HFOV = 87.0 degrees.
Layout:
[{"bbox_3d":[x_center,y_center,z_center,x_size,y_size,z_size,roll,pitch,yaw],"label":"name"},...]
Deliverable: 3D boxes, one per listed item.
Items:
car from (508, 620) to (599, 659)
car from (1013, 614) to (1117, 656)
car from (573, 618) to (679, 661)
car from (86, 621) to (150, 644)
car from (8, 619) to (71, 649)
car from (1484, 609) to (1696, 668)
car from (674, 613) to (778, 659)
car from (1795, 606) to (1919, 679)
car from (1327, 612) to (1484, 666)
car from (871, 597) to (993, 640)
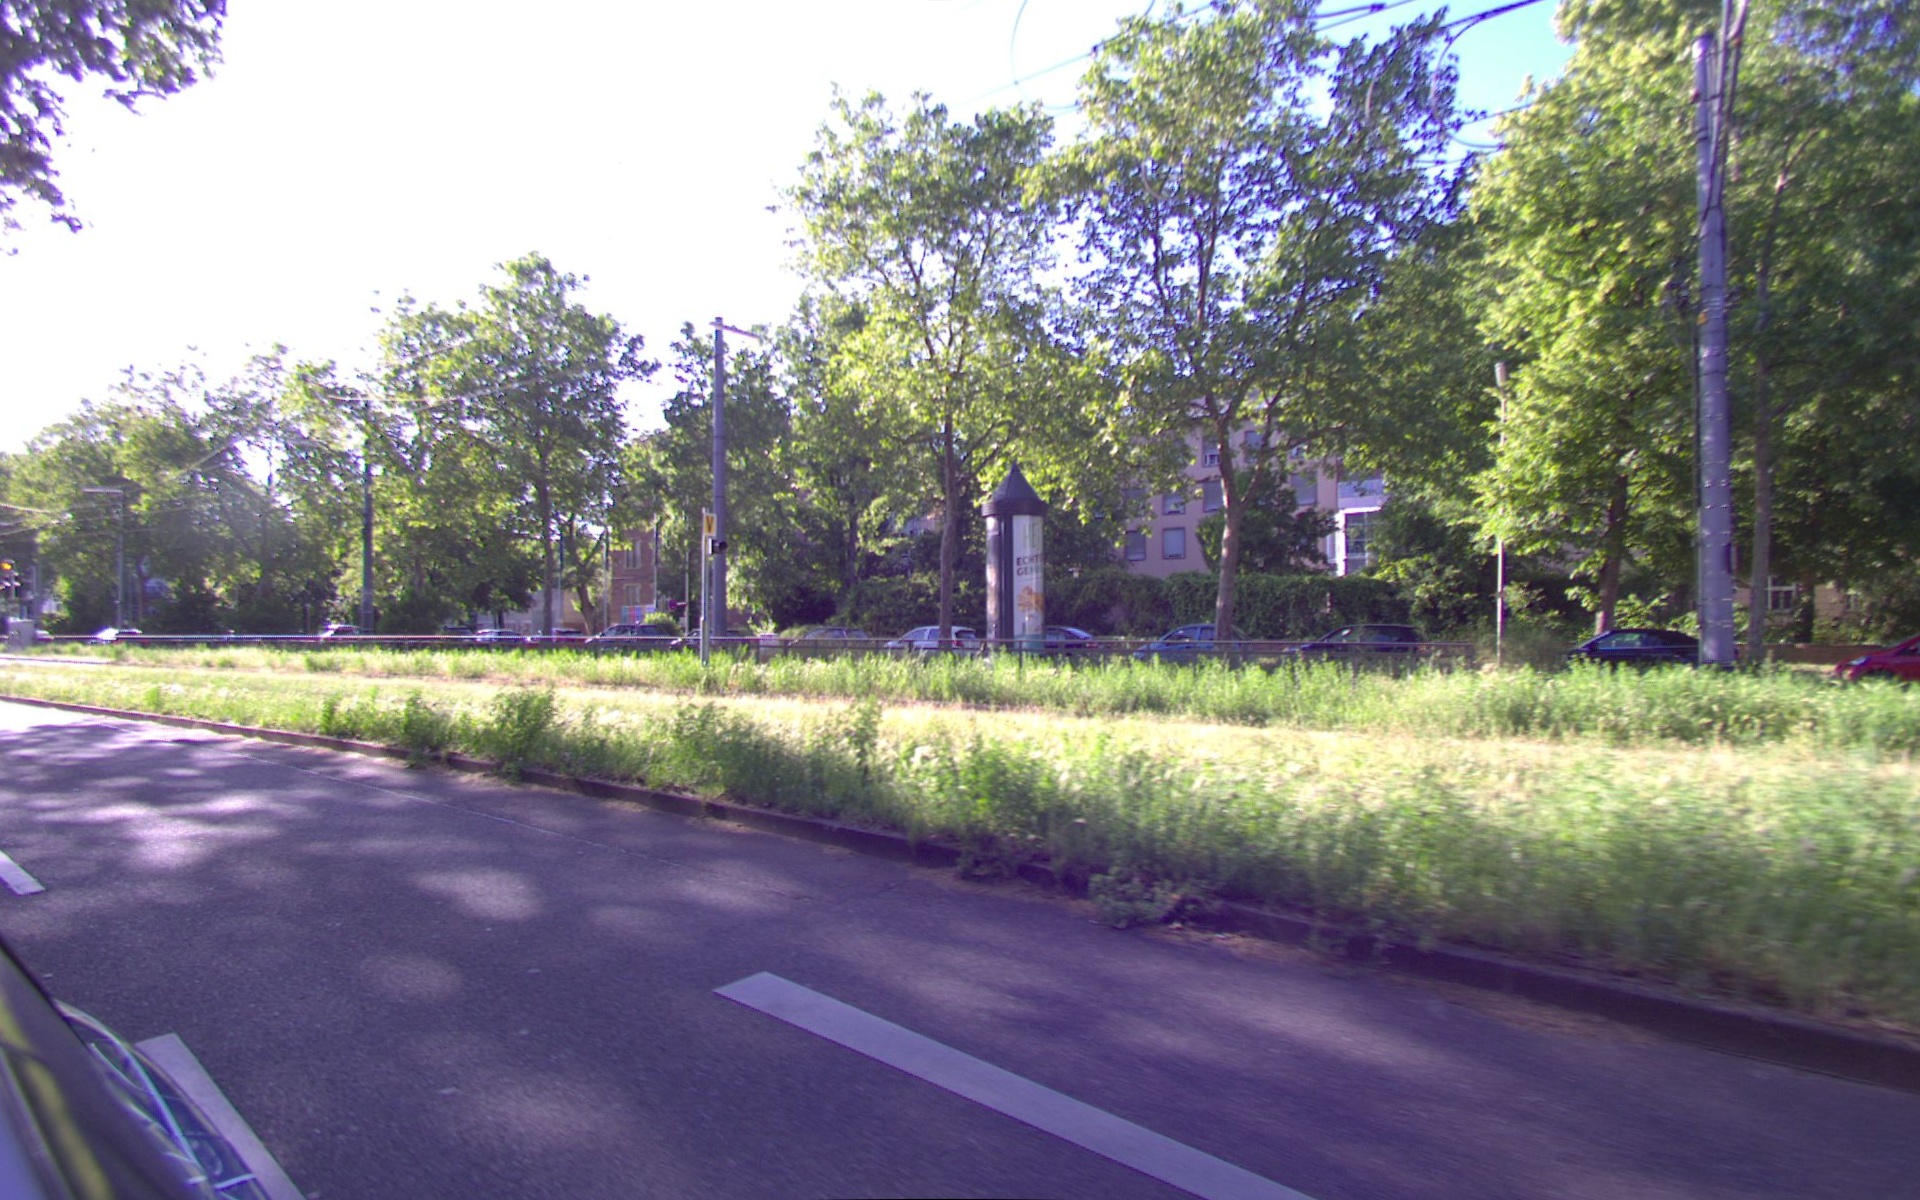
[{"bbox_3d":[-19.078,1.842,47.448,3.988,1.634,1.978,-2,1,33],"label":"car"},{"bbox_3d":[3.169,1.050,30.786,2.837,1.209,1.389,-1,-1,34],"label":"car"},{"bbox_3d":[-14.621,1.707,44.228,4.500,1.696,1.978,-2,1,33],"label":"car"},{"bbox_3d":[-47.003,1.806,56.441,4.697,1.143,1.674,-2,1,37],"label":"car"},{"bbox_3d":[-51.694,1.919,56.834,4.038,1.563,1.778,-2,1,36],"label":"car"},{"bbox_3d":[14.362,0.836,23.192,3.991,1.187,1.777,-1,1,35],"label":"car"},{"bbox_3d":[-9.412,1.430,40.571,3.989,1.696,1.806,-2,1,34],"label":"car"},{"bbox_3d":[18.944,0.797,19.703,3.993,1.320,1.975,-2,0,37],"label":"car"},{"bbox_3d":[10.997,0.942,25.046,3.350,1.238,1.395,-1,-1,34],"label":"car"},{"bbox_3d":[-0.969,0.620,33.962,3.772,1.322,1.754,-2,1,35],"label":"car"}]
